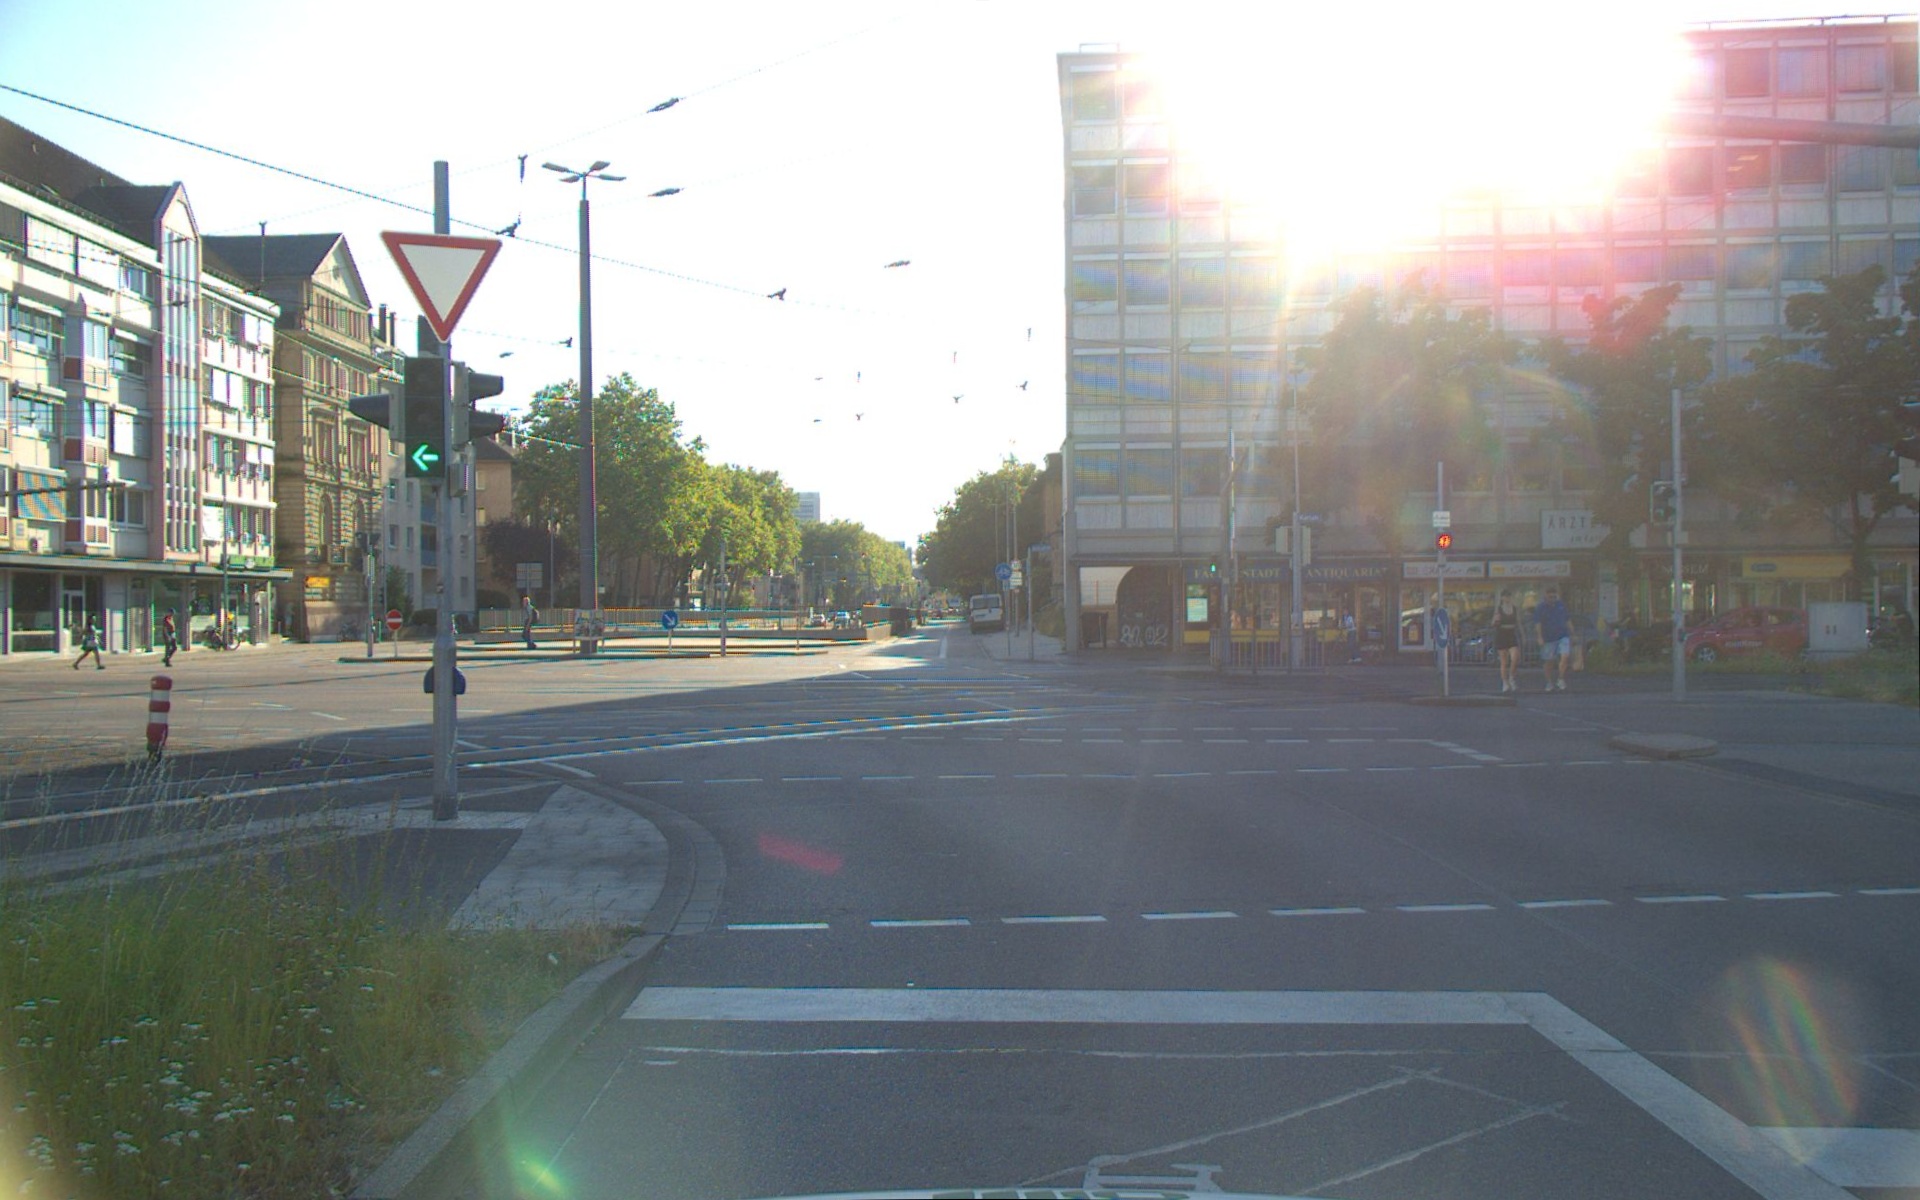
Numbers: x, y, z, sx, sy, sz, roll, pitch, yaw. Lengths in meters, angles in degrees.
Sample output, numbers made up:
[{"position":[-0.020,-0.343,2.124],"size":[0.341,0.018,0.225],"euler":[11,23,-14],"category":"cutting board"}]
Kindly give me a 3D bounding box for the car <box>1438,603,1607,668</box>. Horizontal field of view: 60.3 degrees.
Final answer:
[{"position":[15.140,0.949,44.650],"size":[3.982,1.646,1.845],"euler":[1,-1,4],"category":"car"}]

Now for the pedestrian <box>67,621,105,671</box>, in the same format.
[{"position":[-25.971,1.361,49.175],"size":[0.691,1.479,0.855],"euler":[1,-1,-5],"category":"pedestrian"}]

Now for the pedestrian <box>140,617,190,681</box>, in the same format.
[{"position":[-25.030,1.524,52.065],"size":[1.171,1.916,0.856],"euler":[1,4,-5],"category":"pedestrian"}]

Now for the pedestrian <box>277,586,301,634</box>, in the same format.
[{"position":[-34.444,0.499,84.919],"size":[0.910,2.440,0.958],"euler":[1,-1,-11],"category":"pedestrian"}]

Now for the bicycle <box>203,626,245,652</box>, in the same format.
[{"position":[-32.415,1.711,72.847],"size":[0.441,1.089,2.093],"euler":[1,-1,16],"category":"bicycle"}]

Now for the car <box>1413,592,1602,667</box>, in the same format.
[{"position":[12.871,0.685,39.061],"size":[3.903,1.646,1.845],"euler":[1,-1,4],"category":"car"}]

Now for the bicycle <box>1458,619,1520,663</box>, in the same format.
[{"position":[15.773,1.207,49.418],"size":[0.735,1.163,2.638],"euler":[1,2,-6],"category":"bicycle"}]

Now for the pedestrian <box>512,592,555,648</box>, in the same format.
[{"position":[-13.805,0.651,53.578],"size":[1.171,1.761,0.855],"euler":[1,-1,-5],"category":"pedestrian"}]

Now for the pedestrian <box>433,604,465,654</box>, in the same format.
[{"position":[-15.844,0.902,51.278],"size":[0.844,1.491,0.679],"euler":[1,-6,-30],"category":"pedestrian"}]

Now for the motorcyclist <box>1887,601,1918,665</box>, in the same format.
[{"position":[22.758,0.802,39.955],"size":[0.451,1.535,0.535],"euler":[1,-1,4],"category":"motorcyclist"}]

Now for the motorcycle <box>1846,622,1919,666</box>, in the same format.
[{"position":[22.878,1.063,39.942],"size":[2.606,1.019,0.535],"euler":[1,-1,4],"category":"motorcycle"}]

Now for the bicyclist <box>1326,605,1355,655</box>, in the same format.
[{"position":[11.096,0.869,48.206],"size":[0.665,1.449,0.671],"euler":[1,-1,-2],"category":"bicyclist"}]

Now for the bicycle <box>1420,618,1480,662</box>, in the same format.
[{"position":[14.602,1.177,49.354],"size":[0.735,1.163,2.638],"euler":[1,2,-6],"category":"bicycle"}]

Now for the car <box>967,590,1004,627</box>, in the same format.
[{"position":[1.595,0.557,103.752],"size":[2.238,2.210,4.834],"euler":[1,-1,1],"category":"car"}]

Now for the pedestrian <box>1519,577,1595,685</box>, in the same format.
[{"position":[10.337,0.525,28.649],"size":[0.690,1.824,1.028],"euler":[2,-1,-38],"category":"pedestrian"}]

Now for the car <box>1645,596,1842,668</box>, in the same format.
[{"position":[18.921,0.770,40.062],"size":[3.903,1.646,1.845],"euler":[1,-1,4],"category":"car"}]

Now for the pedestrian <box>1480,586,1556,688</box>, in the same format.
[{"position":[9.566,0.625,28.382],"size":[0.690,1.712,1.028],"euler":[2,-1,-38],"category":"pedestrian"}]

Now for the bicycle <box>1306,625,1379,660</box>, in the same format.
[{"position":[11.141,1.234,48.204],"size":[1.983,0.957,0.671],"euler":[1,-1,-2],"category":"bicycle"}]
